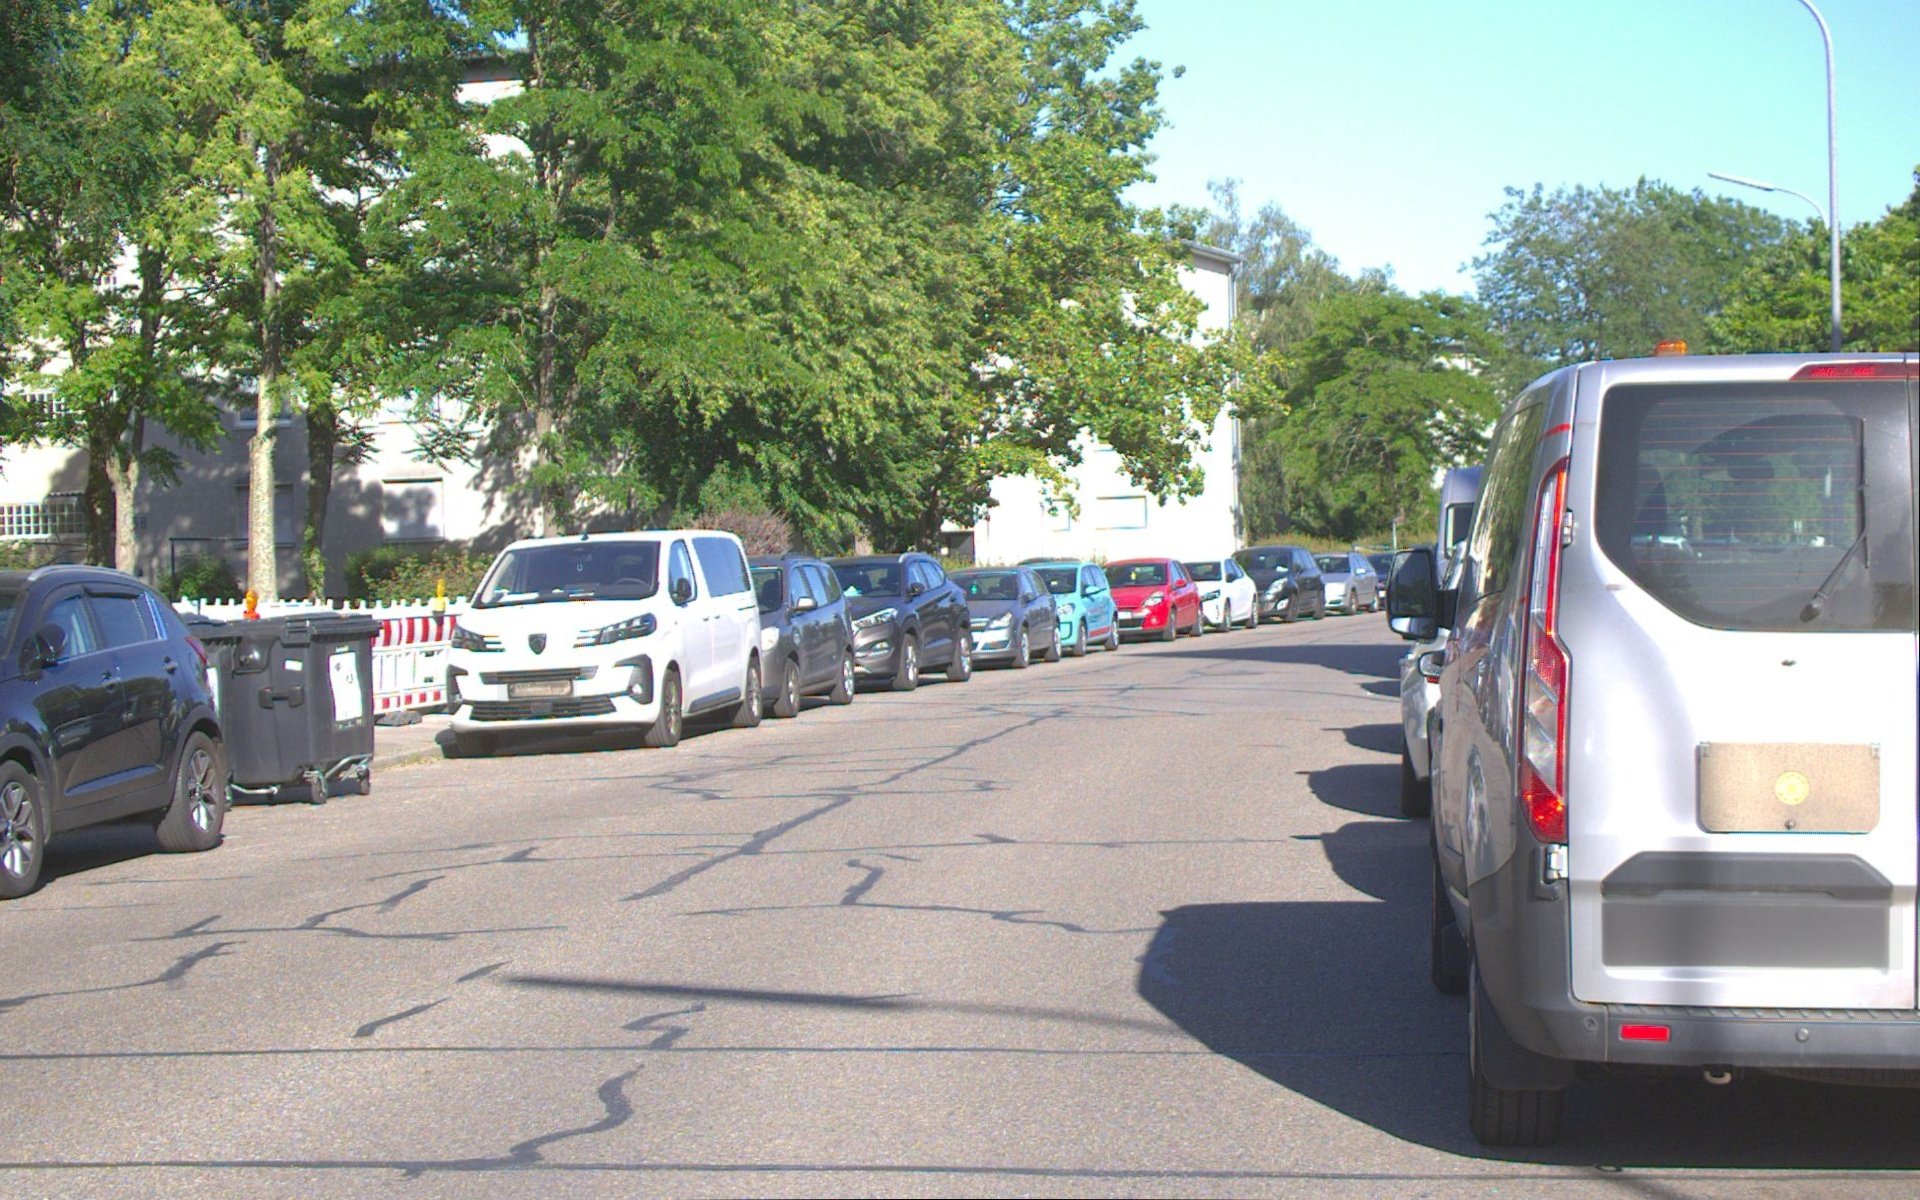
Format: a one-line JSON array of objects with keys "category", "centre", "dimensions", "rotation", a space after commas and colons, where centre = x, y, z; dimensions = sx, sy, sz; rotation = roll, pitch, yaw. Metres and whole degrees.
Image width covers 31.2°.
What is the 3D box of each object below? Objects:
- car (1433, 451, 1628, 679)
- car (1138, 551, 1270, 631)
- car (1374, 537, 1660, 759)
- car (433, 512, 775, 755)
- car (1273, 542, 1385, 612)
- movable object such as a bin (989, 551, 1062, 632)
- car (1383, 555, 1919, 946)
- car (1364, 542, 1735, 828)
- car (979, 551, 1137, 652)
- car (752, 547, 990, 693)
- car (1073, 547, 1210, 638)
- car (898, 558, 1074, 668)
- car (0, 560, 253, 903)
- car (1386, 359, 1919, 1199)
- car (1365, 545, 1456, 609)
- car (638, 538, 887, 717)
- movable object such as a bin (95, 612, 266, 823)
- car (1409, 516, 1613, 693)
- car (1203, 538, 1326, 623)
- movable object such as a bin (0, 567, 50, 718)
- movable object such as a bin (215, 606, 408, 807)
[{"category": "car", "centre": [6.787, -0.423, 40.530], "dimensions": [2.106, 2.478, 5.853], "rotation": [0, 1, 11]}, {"category": "car", "centre": [4.736, -0.187, 66.208], "dimensions": [1.671, 1.416, 3.898], "rotation": [-2, 0, 17]}, {"category": "car", "centre": [4.133, 0.311, 25.853], "dimensions": [1.910, 1.483, 4.374], "rotation": [-2, 0, 8]}, {"category": "car", "centre": [-3.082, 0.238, 30.793], "dimensions": [1.864, 1.954, 4.669], "rotation": [-2, 1, 9]}, {"category": "car", "centre": [8.492, -0.541, 78.811], "dimensions": [1.661, 1.481, 4.049], "rotation": [-3, 0, 18]}, {"category": "movable object such as a bin", "centre": [1.277, -0.168, 66.394], "dimensions": [1.111, 1.493, 1.408], "rotation": [-2, 1, 13]}, {"category": "car", "centre": [2.993, 0.538, 15.260], "dimensions": [1.994, 1.412, 4.923], "rotation": [-2, 0, 5]}, {"category": "car", "centre": [3.436, 0.431, 20.477], "dimensions": [1.910, 1.483, 4.374], "rotation": [-2, 0, 8]}, {"category": "car", "centre": [1.581, 0.002, 54.400], "dimensions": [1.671, 1.469, 3.676], "rotation": [-3, 0, 14]}, {"category": "car", "centre": [-1.016, 0.200, 41.760], "dimensions": [1.749, 1.612, 4.360], "rotation": [-2, 1, 14]}, {"category": "car", "centre": [3.240, -0.154, 60.716], "dimensions": [1.671, 1.469, 3.676], "rotation": [-3, 0, 14]}, {"category": "car", "centre": [0.411, 0.154, 49.176], "dimensions": [1.671, 1.432, 3.998], "rotation": [-3, 0, 12]}, {"category": "car", "centre": [-5.293, 0.661, 18.145], "dimensions": [1.675, 1.633, 4.249], "rotation": [-3, 1, 8]}, {"category": "car", "centre": [2.303, 0.392, 10.101], "dimensions": [1.994, 1.906, 4.952], "rotation": [-1, 1, 6]}, {"category": "car", "centre": [11.009, -0.574, 83.876], "dimensions": [1.661, 1.422, 4.046], "rotation": [-3, 0, 14]}, {"category": "car", "centre": [-2.003, 0.239, 36.145], "dimensions": [1.556, 1.716, 4.339], "rotation": [-2, 1, 11]}, {"category": "movable object such as a bin", "centre": [-5.184, 0.767, 22.913], "dimensions": [0.609, 1.335, 1.268], "rotation": [-2, 0, 11]}, {"category": "car", "centre": [5.628, 0.021, 35.423], "dimensions": [1.910, 1.661, 4.374], "rotation": [-2, 0, 8]}, {"category": "car", "centre": [6.486, -0.438, 72.815], "dimensions": [1.671, 1.661, 4.403], "rotation": [-3, 0, 17]}, {"category": "movable object such as a bin", "centre": [-9.472, 0.406, 32.490], "dimensions": [1.276, 1.397, 1.262], "rotation": [-2, 0, 7]}, {"category": "movable object such as a bin", "centre": [-4.520, 0.729, 24.052], "dimensions": [0.803, 1.311, 1.320], "rotation": [-2, 1, 14]}]
